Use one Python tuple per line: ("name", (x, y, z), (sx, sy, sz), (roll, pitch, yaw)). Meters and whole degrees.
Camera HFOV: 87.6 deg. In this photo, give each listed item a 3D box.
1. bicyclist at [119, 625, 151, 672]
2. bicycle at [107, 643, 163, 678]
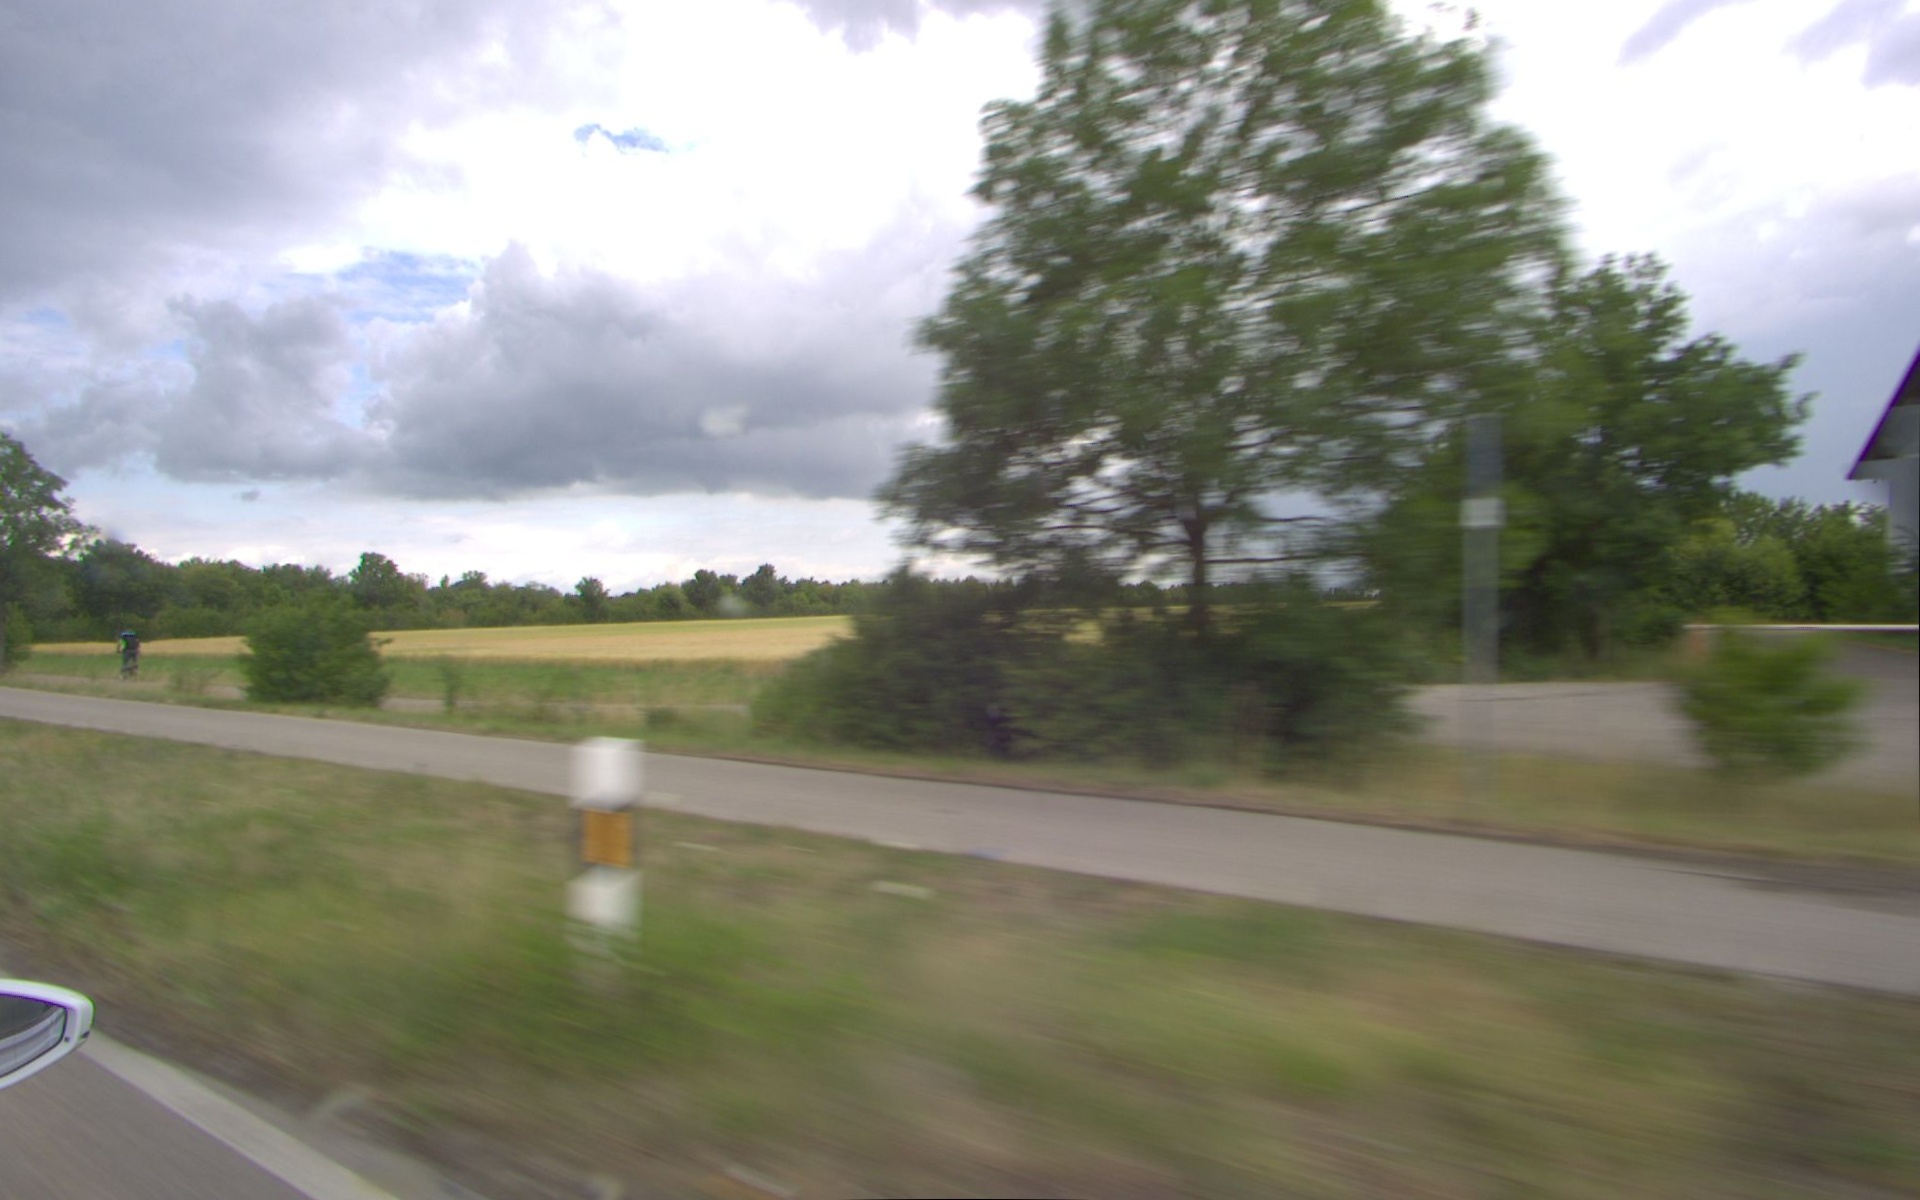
("bicyclist", (-28.341, 1.662, 34.410), (0.733, 1.601, 0.655), (-1, -1, 32))
("bicycle", (-28.367, 2.072, 34.426), (2.790, 1.152, 0.655), (-2, -2, 33))
